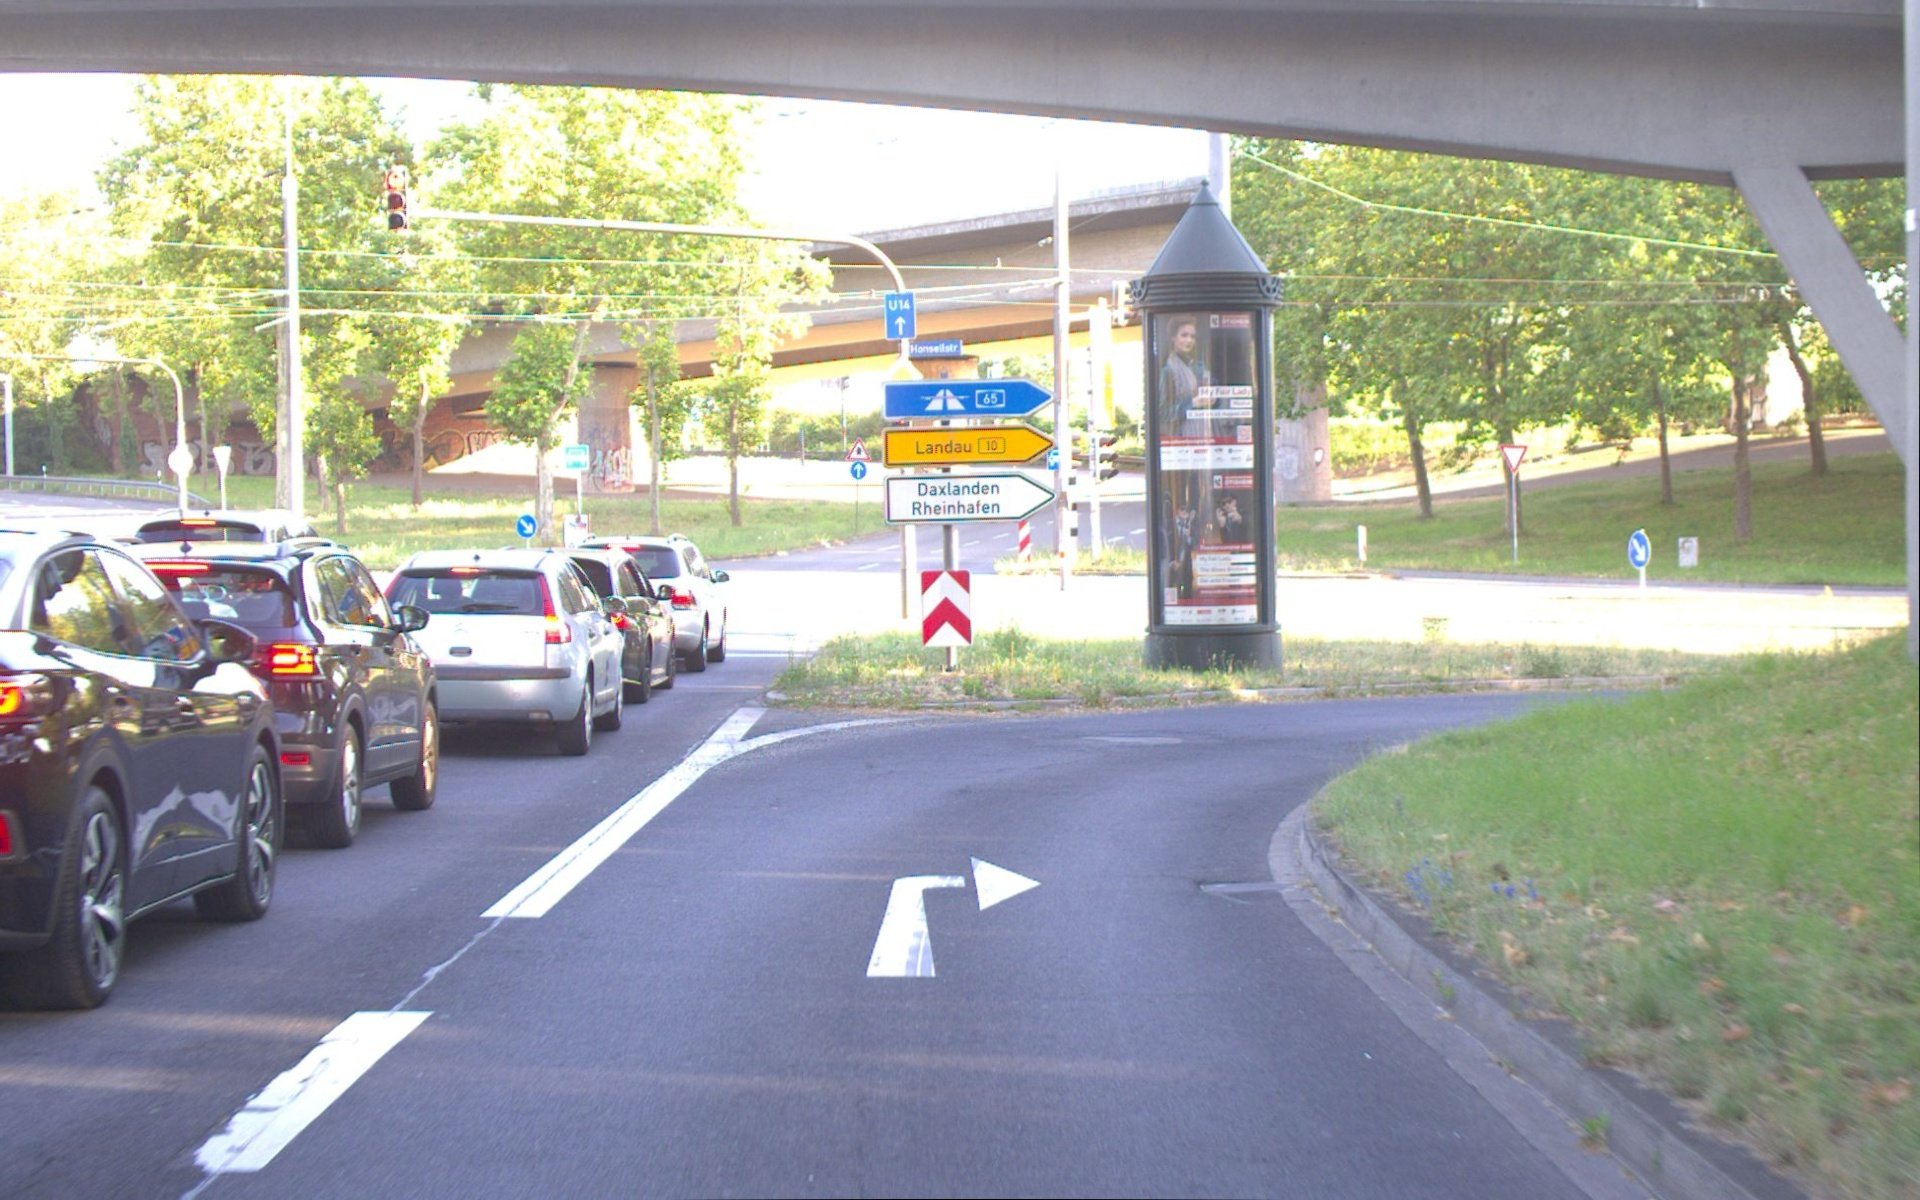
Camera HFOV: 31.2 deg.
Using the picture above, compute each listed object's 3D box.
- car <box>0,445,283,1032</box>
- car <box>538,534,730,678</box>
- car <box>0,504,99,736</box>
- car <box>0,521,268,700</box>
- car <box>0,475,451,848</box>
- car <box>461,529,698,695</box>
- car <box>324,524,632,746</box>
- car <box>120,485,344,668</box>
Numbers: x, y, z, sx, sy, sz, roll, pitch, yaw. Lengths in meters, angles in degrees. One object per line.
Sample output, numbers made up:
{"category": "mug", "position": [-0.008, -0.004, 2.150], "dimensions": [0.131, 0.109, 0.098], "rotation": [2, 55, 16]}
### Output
{"category": "car", "position": [-3.743, 0.380, 12.299], "dimensions": [1.792, 1.744, 4.241], "rotation": [-2, 2, -1]}
{"category": "car", "position": [-3.638, 0.024, 38.913], "dimensions": [1.792, 1.437, 4.001], "rotation": [-2, 2, -1]}
{"category": "car", "position": [-7.346, 0.149, 23.886], "dimensions": [1.662, 1.560, 4.191], "rotation": [-2, 2, -1]}
{"category": "car", "position": [-7.552, 0.034, 30.730], "dimensions": [1.742, 1.427, 4.411], "rotation": [1, 2, 1]}
{"category": "car", "position": [-3.951, 0.241, 18.581], "dimensions": [1.792, 1.744, 4.001], "rotation": [-2, 2, -1]}
{"category": "car", "position": [-3.572, 0.065, 32.980], "dimensions": [1.792, 1.378, 4.477], "rotation": [-2, 2, -1]}
{"category": "car", "position": [-3.592, 0.204, 26.273], "dimensions": [1.792, 1.476, 4.001], "rotation": [-2, 2, -1]}
{"category": "car", "position": [-7.825, -0.305, 37.336], "dimensions": [1.792, 1.786, 4.828], "rotation": [-2, 2, -6]}
